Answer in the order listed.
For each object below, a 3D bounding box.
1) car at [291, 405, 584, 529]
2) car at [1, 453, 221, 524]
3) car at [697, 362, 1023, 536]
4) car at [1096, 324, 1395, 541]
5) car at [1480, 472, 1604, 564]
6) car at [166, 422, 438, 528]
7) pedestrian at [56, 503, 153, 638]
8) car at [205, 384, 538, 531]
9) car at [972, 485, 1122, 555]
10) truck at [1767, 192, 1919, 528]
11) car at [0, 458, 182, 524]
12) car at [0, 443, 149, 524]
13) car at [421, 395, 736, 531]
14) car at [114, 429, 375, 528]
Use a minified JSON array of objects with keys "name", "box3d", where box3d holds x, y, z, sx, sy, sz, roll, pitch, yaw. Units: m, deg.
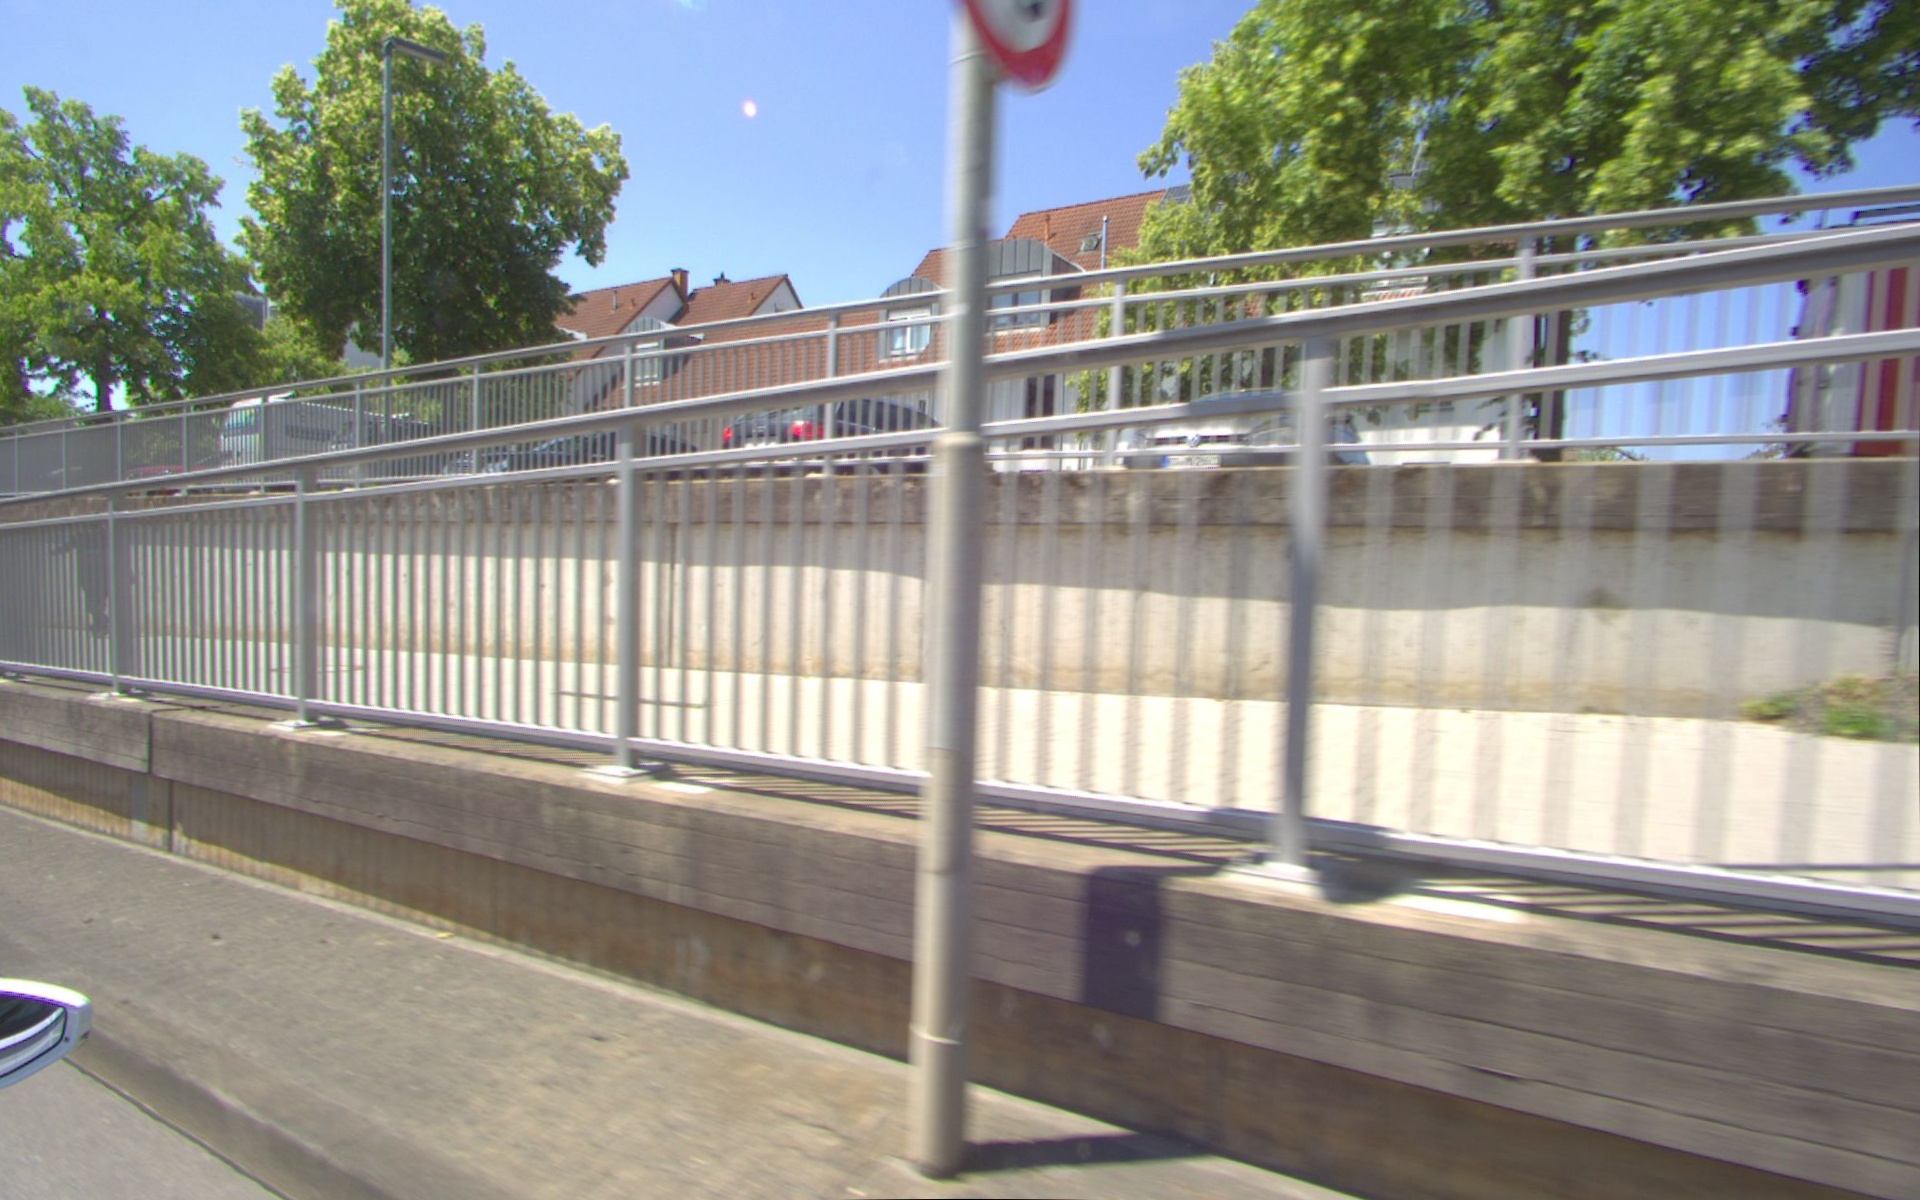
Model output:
[{"name":"car","box3d":[-8.812,-2.153,17.231,1.662,1.618,4.194,3,2,33]},{"name":"car","box3d":[-21.094,-2.702,25.026,1.662,1.386,3.896,3,2,33]},{"name":"car","box3d":[-1.018,-1.649,12.221,1.662,1.519,4.194,3,2,33]},{"name":"car","box3d":[3.033,-1.451,10.030,1.723,1.519,3.977,3,2,33]},{"name":"car","box3d":[10.790,-1.433,18.462,1.732,1.499,3.926,3,4,33]},{"name":"car","box3d":[-12.849,-2.349,19.820,1.662,1.618,4.194,3,2,33]},{"name":"pedestrian","box3d":[-11.959,-0.395,14.004,0.777,1.806,0.834,1,1,33]},{"name":"car","box3d":[-10.875,-2.497,18.942,1.960,2.092,5.099,3,2,33]},{"name":"car","box3d":[2.196,-1.864,24.134,1.732,1.511,4.394,3,4,33]},{"name":"truck","box3d":[9.456,-1.772,7.317,5.182,2.366,2.128,3,2,32]},{"name":"car","box3d":[-23.115,-2.809,26.330,1.662,1.386,3.896,3,2,33]},{"name":"car","box3d":[-25.108,-3.172,27.664,1.662,1.911,3.896,3,2,33]},{"name":"car","box3d":[-5.598,-1.934,15.222,1.723,1.519,4.275,3,2,33]},{"name":"car","box3d":[-14.999,-2.469,21.221,1.662,1.618,4.194,3,2,33]}]
